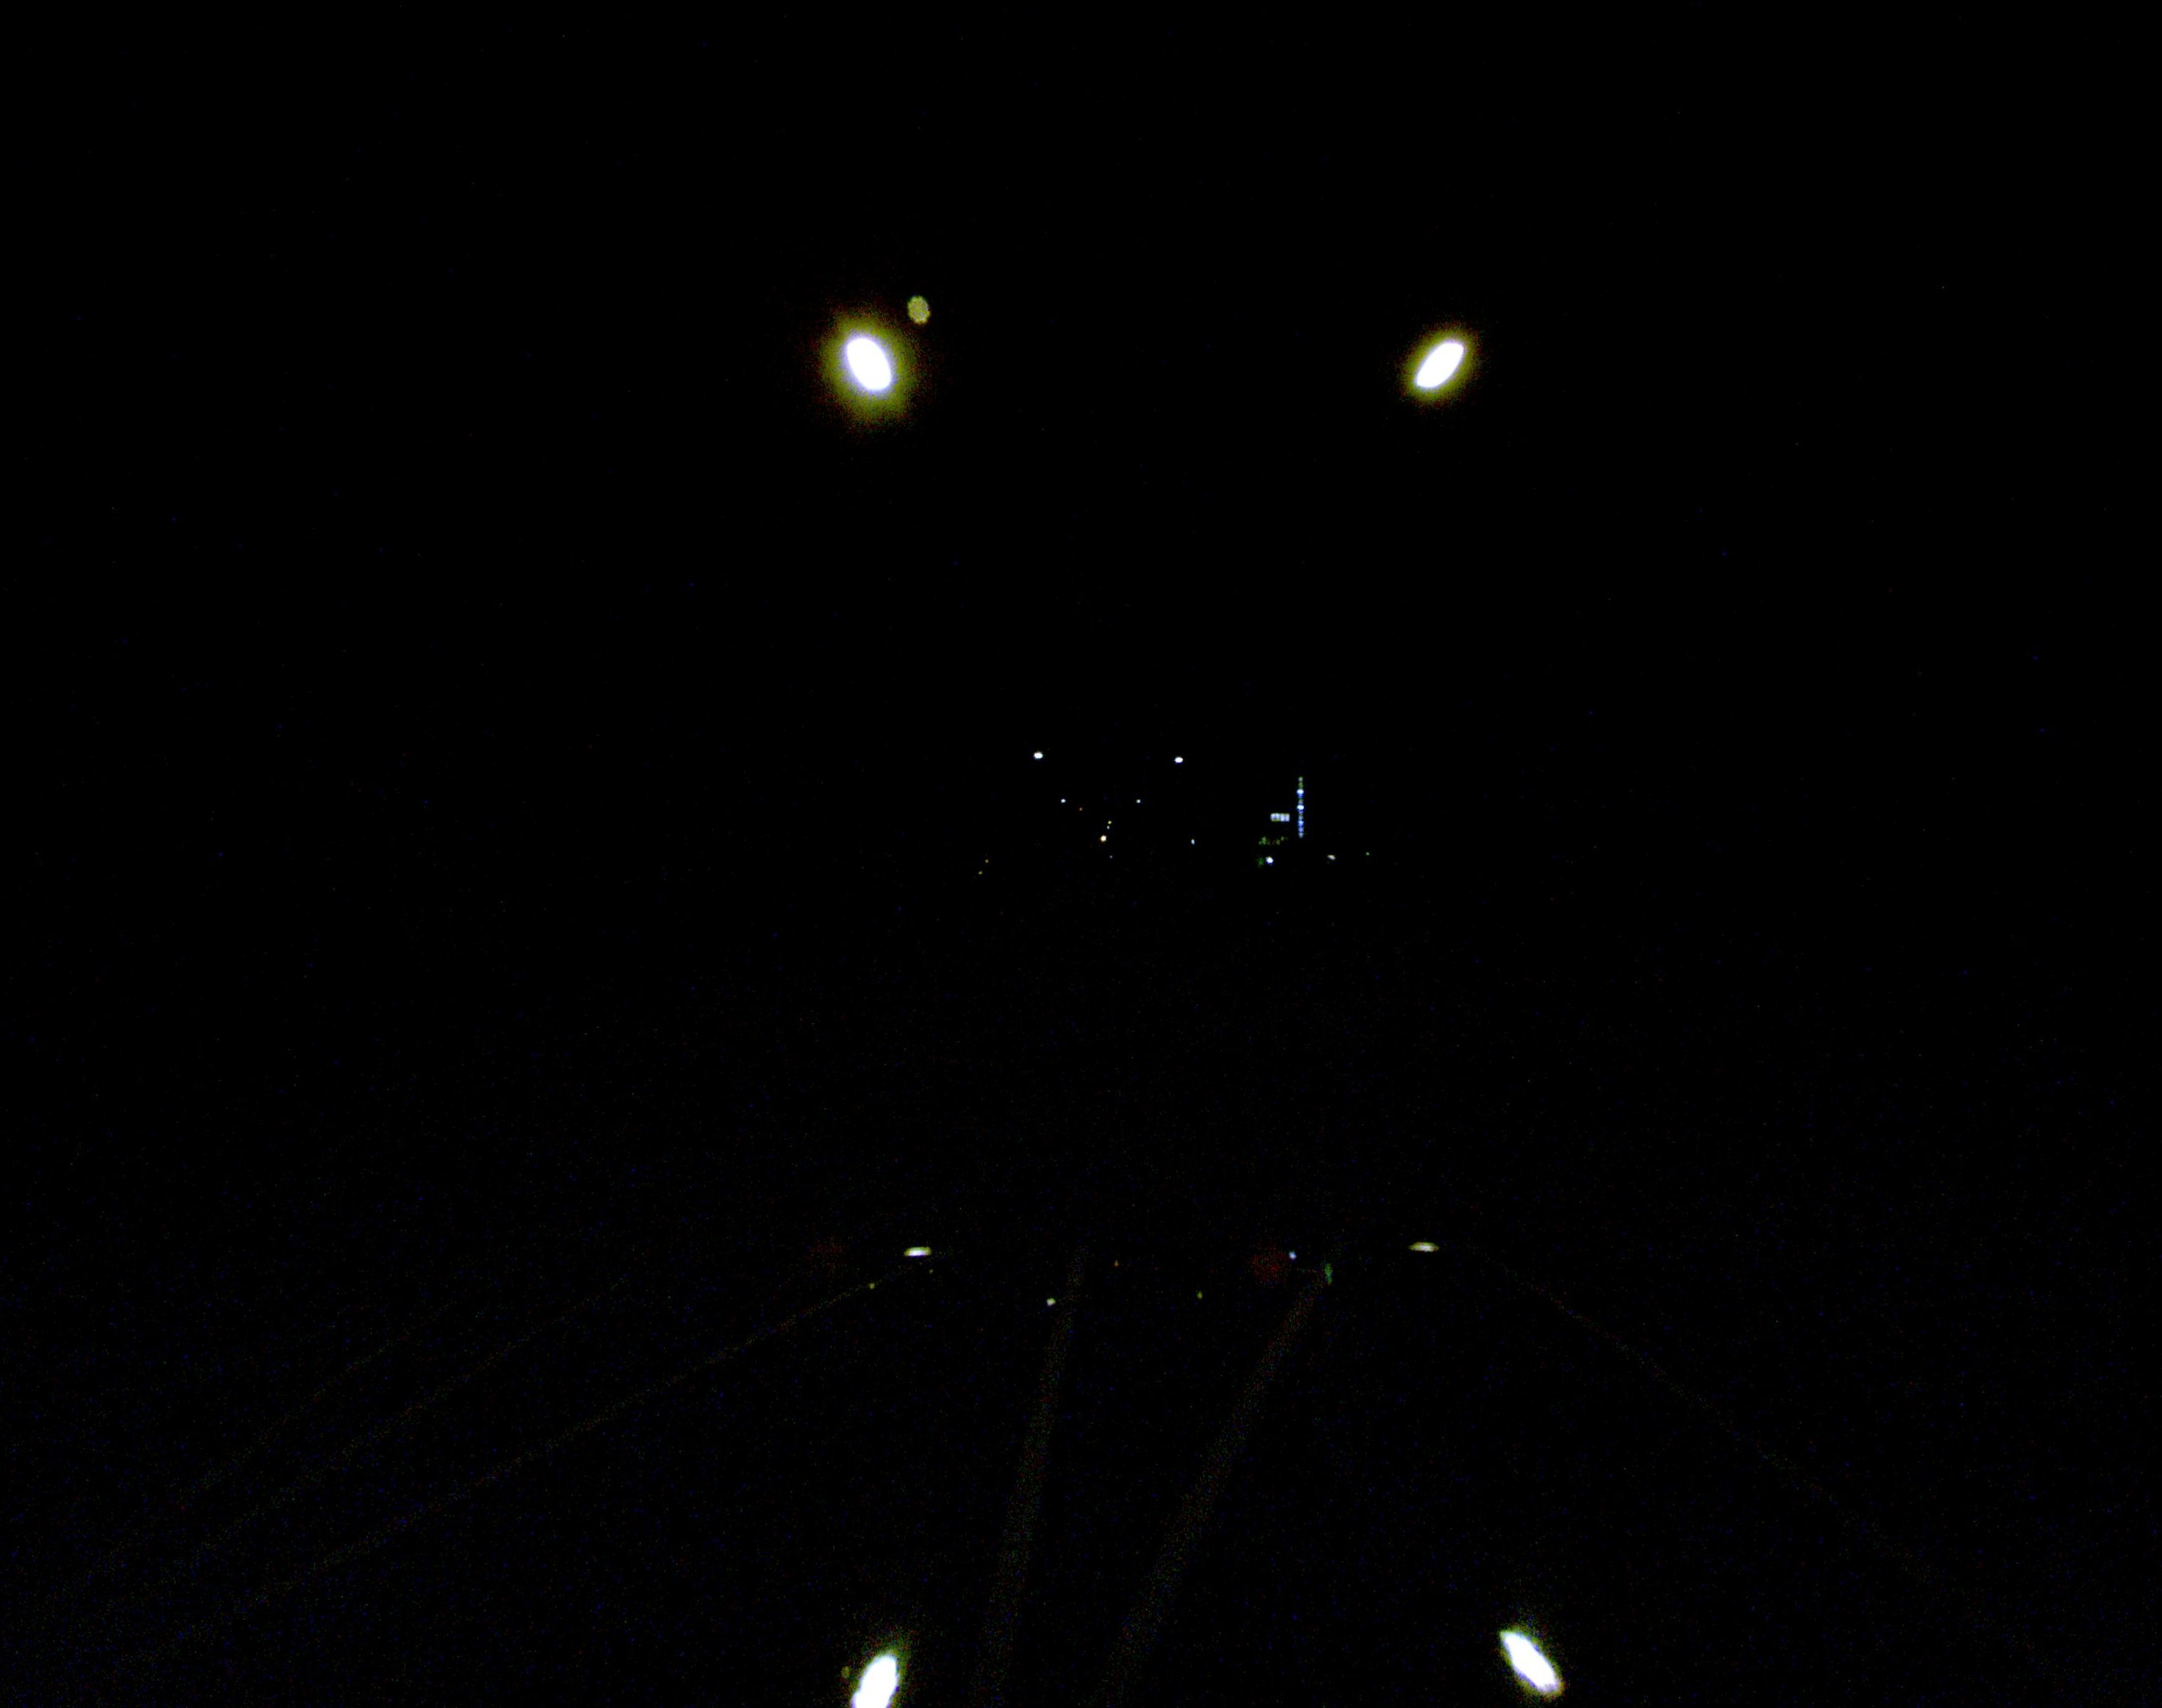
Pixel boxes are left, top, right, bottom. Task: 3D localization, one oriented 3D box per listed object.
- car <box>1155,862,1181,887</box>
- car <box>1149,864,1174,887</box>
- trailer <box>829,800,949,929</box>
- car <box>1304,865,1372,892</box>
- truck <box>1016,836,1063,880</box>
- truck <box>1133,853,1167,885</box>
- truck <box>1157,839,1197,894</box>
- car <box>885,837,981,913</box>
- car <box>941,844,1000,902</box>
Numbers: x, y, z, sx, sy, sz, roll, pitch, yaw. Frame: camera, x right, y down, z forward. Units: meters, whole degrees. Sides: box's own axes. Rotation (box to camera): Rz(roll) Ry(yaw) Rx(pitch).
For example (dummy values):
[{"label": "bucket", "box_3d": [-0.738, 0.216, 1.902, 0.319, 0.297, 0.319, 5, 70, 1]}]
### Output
[{"label": "car", "box_3d": [8.525, 1.984, 75.024, 2.145, 2.298, 4.469, -2, 0, 2]}, {"label": "car", "box_3d": [8.721, 2.314, 83.111, 1.999, 2.429, 5.745, -2, 0, 0]}, {"label": "trailer", "box_3d": [-5.425, 0.299, 22.152, 2.404, 3.306, 4.362, -2, 0, -2]}, {"label": "car", "box_3d": [17.676, 1.687, 52.391, 3.997, 1.455, 1.806, -5, 0, -2]}, {"label": "truck", "box_3d": [-3.882, 0.398, 74.323, 2.515, 3.814, 12.664, -2, 0, 6]}, {"label": "truck", "box_3d": [8.422, 1.835, 94.065, 2.829, 3.610, 10.399, -2, 0, -2]}, {"label": "truck", "box_3d": [8.150, 0.908, 65.928, 2.644, 4.289, 12.826, 1, 1, 4]}, {"label": "car", "box_3d": [-5.449, 0.732, 29.043, 1.945, 2.533, 6.648, -2, 0, 3]}, {"label": "car", "box_3d": [-5.300, 0.868, 37.155, 1.999, 2.533, 6.025, -2, 0, -1]}]
